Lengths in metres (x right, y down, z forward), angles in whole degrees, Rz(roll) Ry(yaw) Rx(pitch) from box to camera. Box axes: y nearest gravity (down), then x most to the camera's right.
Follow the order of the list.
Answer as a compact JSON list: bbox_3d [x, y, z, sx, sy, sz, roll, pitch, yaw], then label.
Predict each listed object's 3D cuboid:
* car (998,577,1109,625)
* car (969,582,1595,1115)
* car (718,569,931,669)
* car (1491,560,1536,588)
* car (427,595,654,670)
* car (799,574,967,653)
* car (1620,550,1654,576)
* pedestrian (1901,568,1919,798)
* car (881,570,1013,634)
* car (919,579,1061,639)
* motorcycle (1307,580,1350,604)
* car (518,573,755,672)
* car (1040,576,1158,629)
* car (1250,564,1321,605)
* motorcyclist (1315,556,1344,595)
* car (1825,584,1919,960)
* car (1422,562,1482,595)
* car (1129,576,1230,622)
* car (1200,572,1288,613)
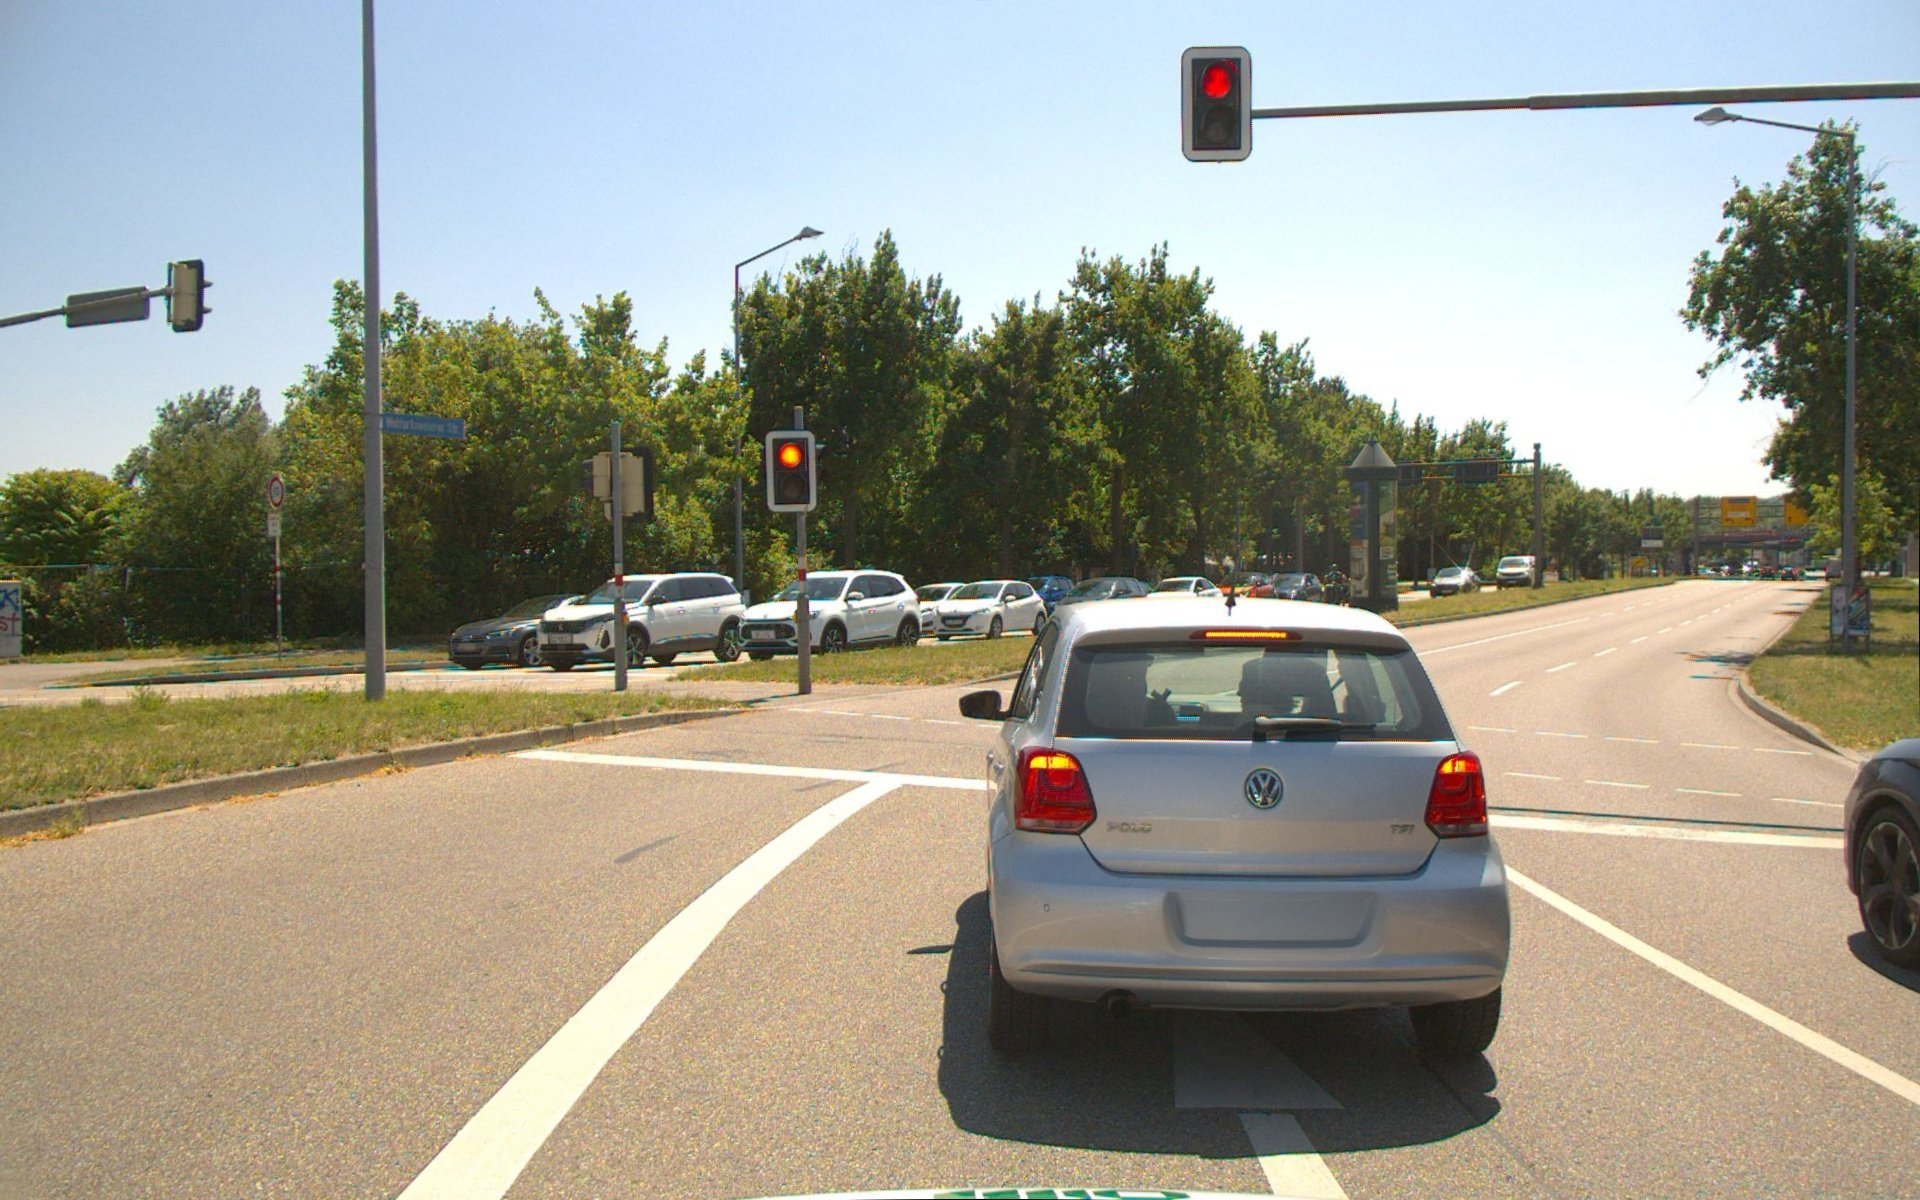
[{"bbox_3d":[3.047,-0.008,53.085,1.823,1.447,4.401,0,1,29],"label":"car"},{"bbox_3d":[0.975,0.678,6.631,1.739,1.447,4.002,0,1,2],"label":"car"},{"bbox_3d":[-2.428,0.283,30.824,1.823,1.712,4.401,0,1,29],"label":"car"},{"bbox_3d":[31.677,-1.472,94.586,1.827,1.582,3.995,0,1,28],"label":"car"},{"bbox_3d":[-8.151,0.585,32.532,1.823,1.292,4.401,0,1,29],"label":"car"},{"bbox_3d":[-1.700,0.261,38.153,1.823,1.712,4.401,0,1,29],"label":"car"},{"bbox_3d":[48.606,-2.654,118.735,1.767,1.722,4.135,-2,0,29],"label":"car"},{"bbox_3d":[7.451,0.586,12.103,0.935,1.666,0.756,-2,-1,30],"label":"pedestrian"},{"bbox_3d":[-0.304,0.015,46.783,1.823,1.712,4.401,0,1,29],"label":"car"},{"bbox_3d":[0.845,0.191,42.898,1.823,1.447,4.401,0,1,29],"label":"car"},{"bbox_3d":[15.605,-0.327,69.989,0.879,0.969,2.809,-2,0,31],"label":"motorcycle"},{"bbox_3d":[-5.772,0.342,30.026,1.823,1.646,4.401,0,1,29],"label":"car"},{"bbox_3d":[4.133,0.046,48.591,1.823,1.447,4.401,0,1,29],"label":"car"},{"bbox_3d":[12.826,-0.607,65.044,1.682,1.500,3.792,-2,0,28],"label":"car"},{"bbox_3d":[15.660,-1.052,70.123,0.889,1.614,1.008,-2,-1,31],"label":"motorcyclist"},{"bbox_3d":[4.553,0.695,4.948,1.951,1.443,4.459,0,1,5],"label":"car"},{"bbox_3d":[23.292,-1.017,78.229,1.933,1.514,3.994,0,1,28],"label":"car"},{"bbox_3d":[7.288,-0.053,54.582,1.823,1.447,4.401,0,1,29],"label":"car"},{"bbox_3d":[10.500,-0.306,60.901,1.823,1.447,4.401,0,1,29],"label":"car"}]
